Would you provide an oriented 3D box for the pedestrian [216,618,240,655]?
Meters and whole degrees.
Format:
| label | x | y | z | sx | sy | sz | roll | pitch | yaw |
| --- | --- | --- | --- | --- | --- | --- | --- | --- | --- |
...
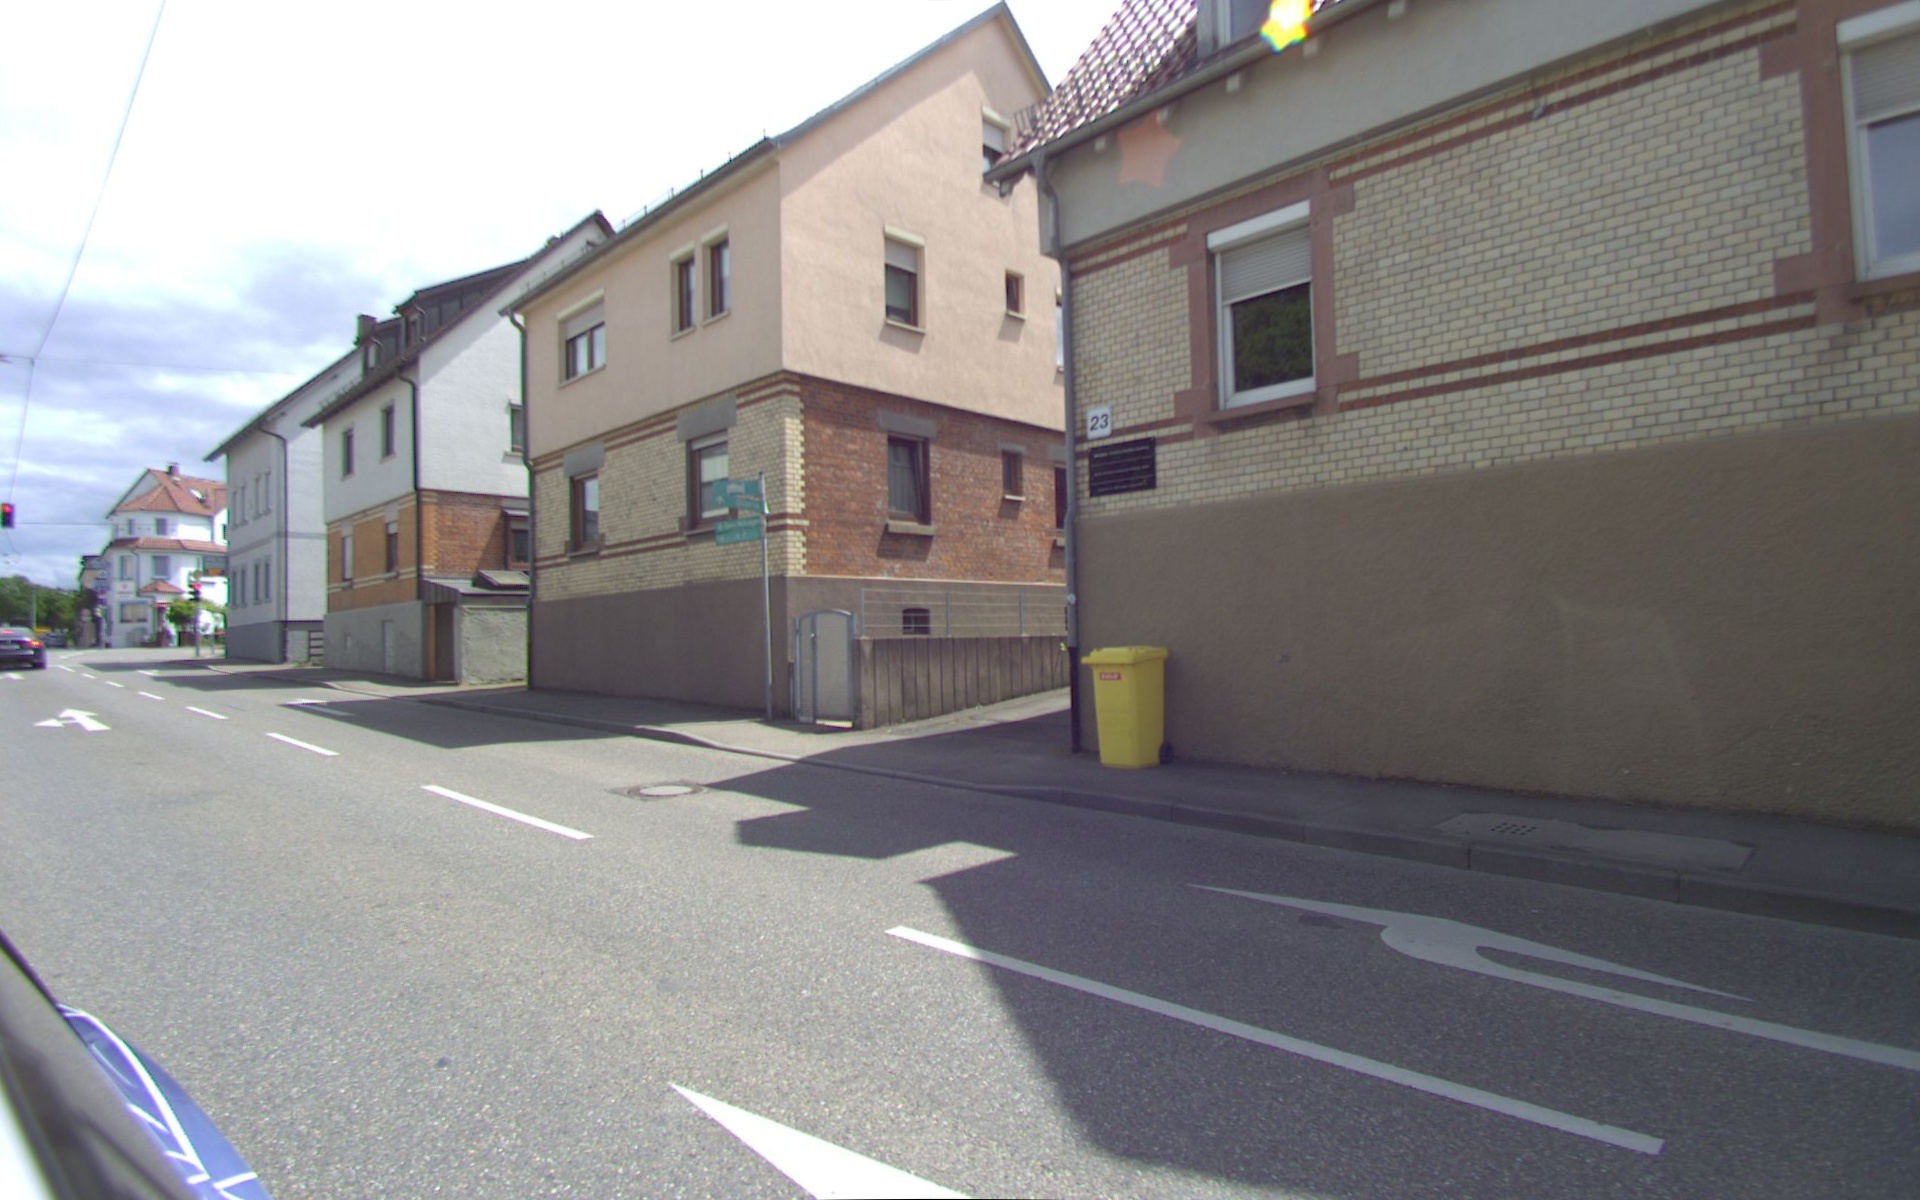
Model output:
| label | x | y | z | sx | sy | sz | roll | pitch | yaw |
| --- | --- | --- | --- | --- | --- | --- | --- | --- | --- |
| pedestrian | -33.380 | 1.662 | 46.142 | 0.674 | 1.620 | 0.583 | -1 | 0 | 10 |

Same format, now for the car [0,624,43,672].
| label | x | y | z | sx | sy | sz | roll | pitch | yaw |
| --- | --- | --- | --- | --- | --- | --- | --- | --- | --- |
| car | -31.654 | 1.611 | 33.437 | 4.001 | 1.497 | 1.770 | -3 | -1 | 44 |

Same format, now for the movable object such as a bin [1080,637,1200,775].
| label | x | y | z | sx | sy | sz | roll | pitch | yaw |
| --- | --- | --- | --- | --- | --- | --- | --- | --- | --- |
| movable object such as a bin | 1.645 | 0.931 | 9.255 | 0.802 | 1.170 | 0.756 | -2 | -2 | 42 |
